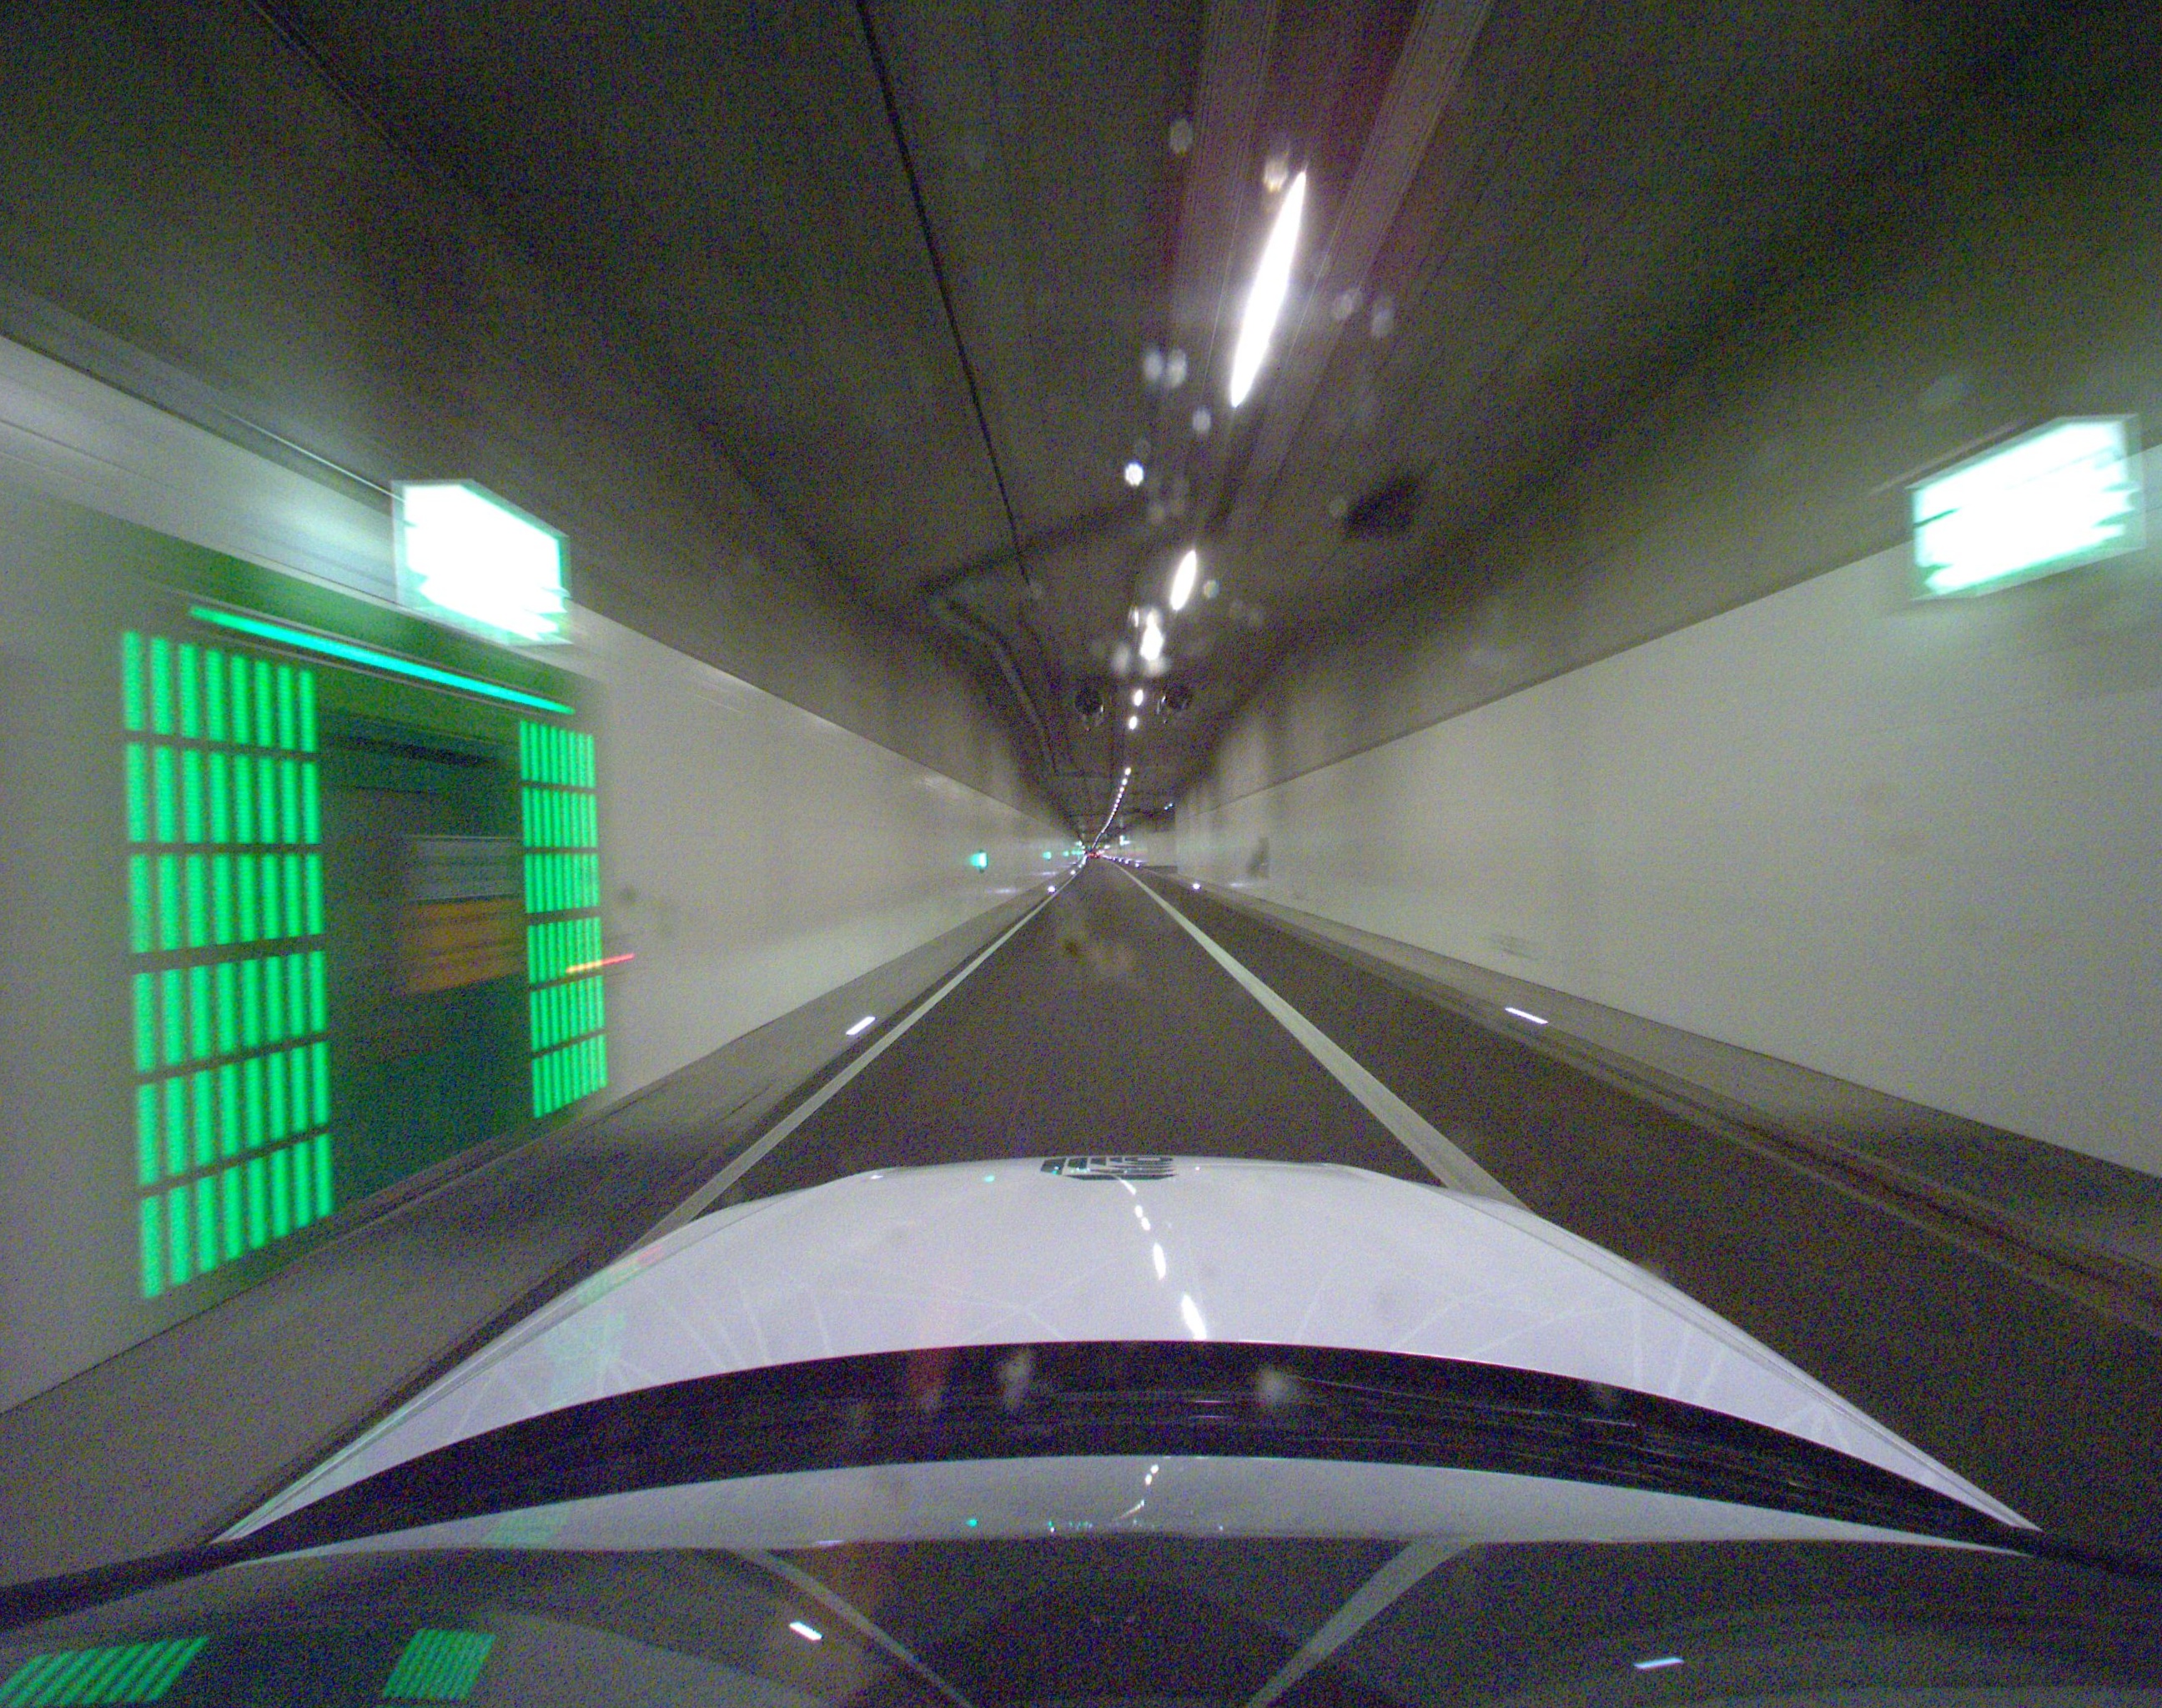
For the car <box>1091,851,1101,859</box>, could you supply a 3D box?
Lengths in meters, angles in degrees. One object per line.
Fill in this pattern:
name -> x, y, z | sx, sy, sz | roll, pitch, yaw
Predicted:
car -> 3.033, 0.140, 166.459 | 1.987, 1.420, 4.000 | -4, 0, 0
